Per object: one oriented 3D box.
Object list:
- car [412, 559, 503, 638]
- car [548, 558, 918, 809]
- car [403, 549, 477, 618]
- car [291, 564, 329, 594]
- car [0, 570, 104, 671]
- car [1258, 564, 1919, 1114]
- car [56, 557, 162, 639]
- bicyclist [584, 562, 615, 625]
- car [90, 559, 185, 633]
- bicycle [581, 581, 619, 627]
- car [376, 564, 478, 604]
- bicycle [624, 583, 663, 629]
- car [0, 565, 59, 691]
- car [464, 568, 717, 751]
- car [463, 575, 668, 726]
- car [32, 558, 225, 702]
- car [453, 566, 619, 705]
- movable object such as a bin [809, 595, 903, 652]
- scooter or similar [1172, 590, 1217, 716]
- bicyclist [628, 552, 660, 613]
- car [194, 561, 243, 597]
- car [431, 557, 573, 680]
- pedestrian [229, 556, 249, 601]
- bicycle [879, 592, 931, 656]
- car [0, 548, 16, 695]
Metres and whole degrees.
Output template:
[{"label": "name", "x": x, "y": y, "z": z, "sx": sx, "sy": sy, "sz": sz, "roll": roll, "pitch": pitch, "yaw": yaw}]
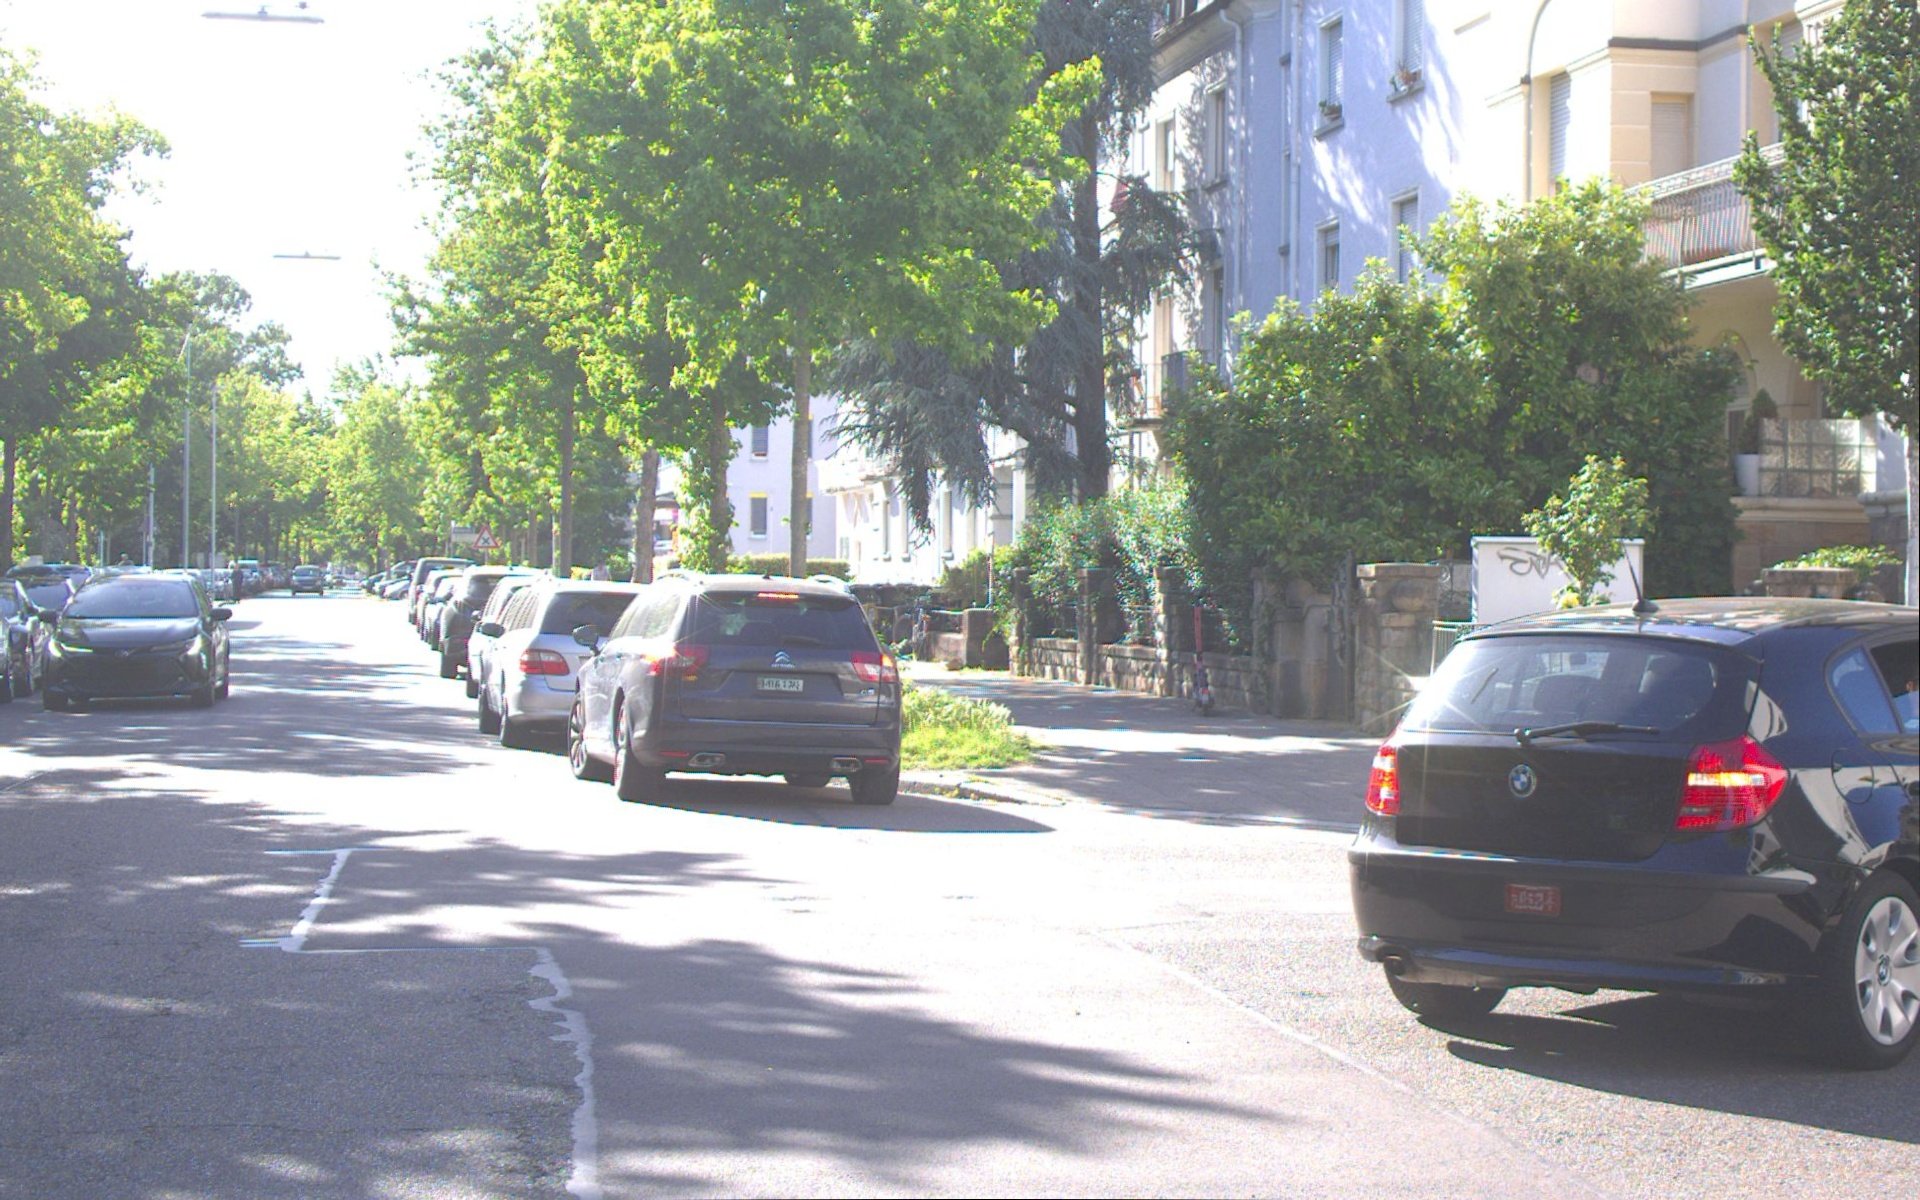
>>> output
[{"label": "car", "x": -11.818, "y": -0.050, "z": 80.690, "sx": 1.906, "sy": 1.693, "sz": 4.314, "roll": 3, "pitch": 0, "yaw": -10}, {"label": "car", "x": -1.686, "y": 0.531, "z": 23.736, "sx": 1.895, "sy": 1.519, "sz": 4.968, "roll": 1, "pitch": 0, "yaw": -11}, {"label": "car", "x": -15.291, "y": -0.488, "z": 100.858, "sx": 1.970, "sy": 1.942, "sz": 4.987, "roll": 1, "pitch": 0, "yaw": -10}, {"label": "car", "x": -34.901, "y": -1.149, "z": 184.487, "sx": 1.782, "sy": 1.603, "sz": 4.001, "roll": 0, "pitch": 0, "yaw": -14}, {"label": "car", "x": -13.425, "y": 0.275, "z": 49.501, "sx": 1.779, "sy": 1.374, "sz": 4.263, "roll": -1, "pitch": 1, "yaw": -9}, {"label": "car", "x": 2.907, "y": 0.641, "z": 11.625, "sx": 1.787, "sy": 1.518, "sz": 3.990, "roll": 0, "pitch": 1, "yaw": 41}, {"label": "car", "x": -17.050, "y": -0.063, "z": 69.021, "sx": 1.811, "sy": 1.590, "sz": 4.234, "roll": 0, "pitch": 0, "yaw": -10}, {"label": "bicyclist", "x": -9.256, "y": -0.173, "z": 88.273, "sx": 0.676, "sy": 1.604, "sz": 0.922, "roll": 0, "pitch": 0, "yaw": -13}, {"label": "car", "x": -17.926, "y": -0.107, "z": 75.066, "sx": 1.710, "sy": 1.539, "sz": 3.931, "roll": -1, "pitch": 1, "yaw": -9}, {"label": "bicycle", "x": -9.259, "y": 0.095, "z": 88.275, "sx": 0.683, "sy": 1.149, "sz": 2.404, "roll": 0, "pitch": 0, "yaw": -13}, {"label": "car", "x": -21.978, "y": -0.657, "z": 141.729, "sx": 3.986, "sy": 1.581, "sz": 1.727, "roll": 0, "pitch": 1, "yaw": -13}, {"label": "bicycle", "x": -8.118, "y": 0.141, "z": 88.139, "sx": 0.683, "sy": 1.149, "sz": 2.404, "roll": 0, "pitch": 0, "yaw": -13}, {"label": "car", "x": -12.308, "y": 0.341, "z": 42.600, "sx": 1.728, "sy": 1.472, "sz": 4.620, "roll": -3, "pitch": 1, "yaw": -9}, {"label": "car", "x": -3.454, "y": 0.487, "z": 31.363, "sx": 1.821, "sy": 1.464, "sz": 4.911, "roll": 2, "pitch": 0, "yaw": -11}, {"label": "car", "x": -4.229, "y": 0.486, "z": 36.294, "sx": 1.710, "sy": 1.406, "sz": 4.863, "roll": 2, "pitch": 0, "yaw": -11}, {"label": "car", "x": -9.003, "y": 0.287, "z": 37.478, "sx": 1.808, "sy": 1.441, "sz": 4.367, "roll": -1, "pitch": 1, "yaw": -11}, {"label": "car", "x": -5.217, "y": 0.392, "z": 41.936, "sx": 1.653, "sy": 1.527, "sz": 3.970, "roll": 3, "pitch": 0, "yaw": -11}, {"label": "movable object such as a bin", "x": -1.727, "y": 0.388, "z": 57.138, "sx": 1.222, "sy": 0.901, "sz": 1.663, "roll": 1, "pitch": 1, "yaw": 11}, {"label": "scooter or similar", "x": 2.284, "y": 0.506, "z": 33.446, "sx": 0.401, "sy": 1.181, "sz": 1.205, "roll": 1, "pitch": 1, "yaw": 5}, {"label": "bicyclist", "x": -8.091, "y": -0.447, "z": 88.064, "sx": 0.676, "sy": 1.548, "sz": 1.022, "roll": 0, "pitch": 0, "yaw": -13}, {"label": "car", "x": -34.012, "y": -0.974, "z": 157.768, "sx": 1.993, "sy": 1.579, "sz": 4.001, "roll": 0, "pitch": 1, "yaw": -10}, {"label": "car", "x": -6.867, "y": 0.234, "z": 51.376, "sx": 1.925, "sy": 1.646, "sz": 5.096, "roll": 3, "pitch": 0, "yaw": -8}, {"label": "pedestrian", "x": -30.474, "y": -0.895, "z": 145.342, "sx": 0.715, "sy": 1.894, "sz": 0.837, "roll": 0, "pitch": 1, "yaw": -19}, {"label": "bicycle", "x": -0.865, "y": 0.366, "z": 53.723, "sx": 0.581, "sy": 0.971, "sz": 1.904, "roll": 0, "pitch": 1, "yaw": -8}, {"label": "car", "x": -11.365, "y": 0.276, "z": 37.340, "sx": 1.728, "sy": 1.612, "sz": 4.367, "roll": -3, "pitch": 1, "yaw": -11}]
